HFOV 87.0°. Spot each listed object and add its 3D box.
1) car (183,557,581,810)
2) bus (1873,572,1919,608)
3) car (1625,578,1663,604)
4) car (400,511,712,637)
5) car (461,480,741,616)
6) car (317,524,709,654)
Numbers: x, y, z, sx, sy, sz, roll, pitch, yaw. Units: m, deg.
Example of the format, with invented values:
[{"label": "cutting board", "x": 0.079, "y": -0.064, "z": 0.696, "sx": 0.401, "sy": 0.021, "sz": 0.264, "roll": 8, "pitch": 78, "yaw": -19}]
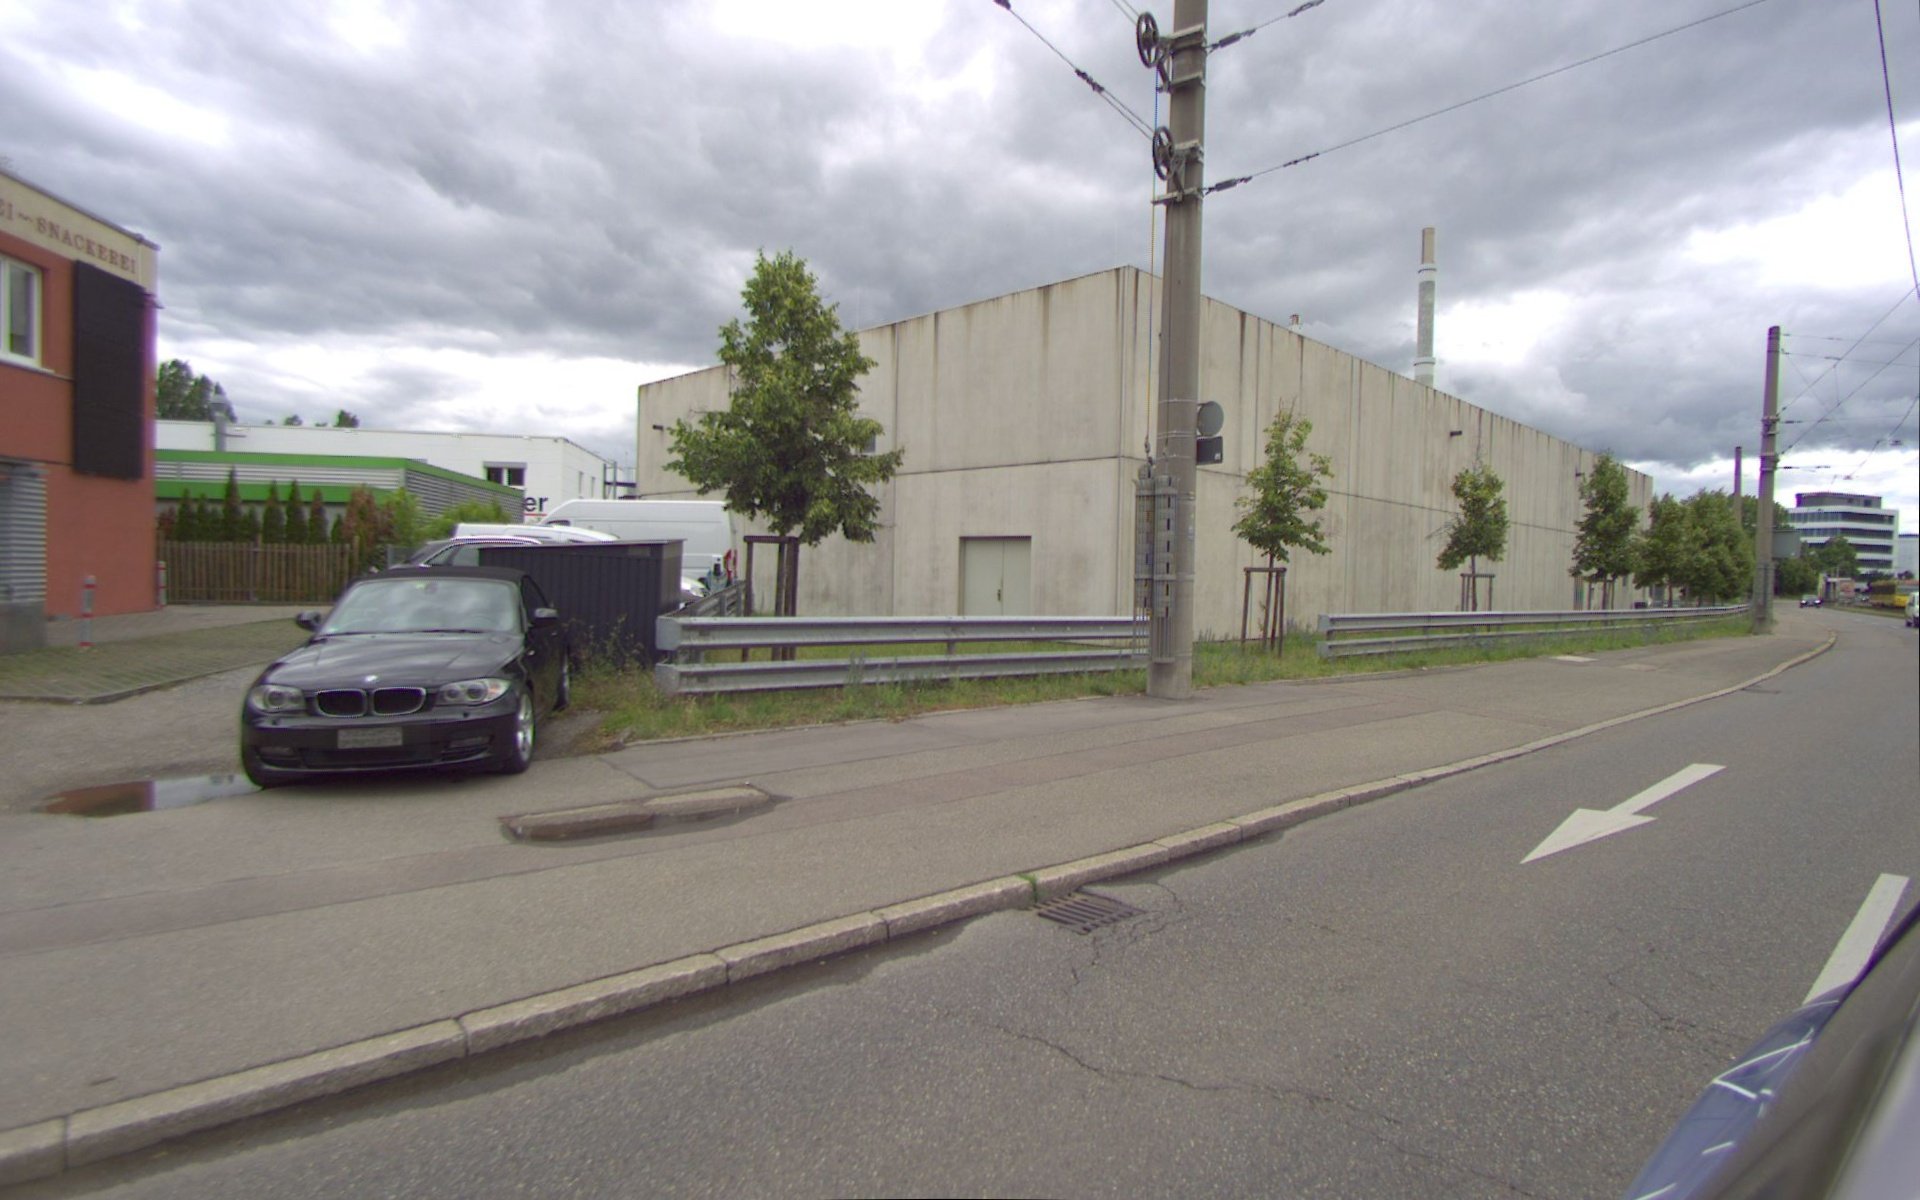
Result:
[{"label": "car", "x": -4.182, "y": 0.436, "z": 8.102, "sx": 1.726, "sy": 1.461, "sz": 4.243, "roll": 1, "pitch": 1, "yaw": -15}, {"label": "bus", "x": 115.143, "y": -1.309, "z": 122.785, "sx": 3.525, "sy": 4.001, "sz": 10.404, "roll": 0, "pitch": 2, "yaw": 26}, {"label": "car", "x": 44.840, "y": -0.582, "z": 66.309, "sx": 1.746, "sy": 1.594, "sz": 4.368, "roll": 0, "pitch": 0, "yaw": 39}, {"label": "car", "x": -6.422, "y": -0.416, "z": 16.585, "sx": 4.447, "sy": 1.854, "sz": 1.865, "roll": 1, "pitch": 2, "yaw": -10}, {"label": "car", "x": -7.475, "y": -1.072, "z": 21.607, "sx": 5.312, "sy": 2.621, "sz": 2.100, "roll": 1, "pitch": 2, "yaw": -8}, {"label": "car", "x": -5.920, "y": -0.207, "z": 13.887, "sx": 4.435, "sy": 1.566, "sz": 2.162, "roll": 1, "pitch": 3, "yaw": 0}]
